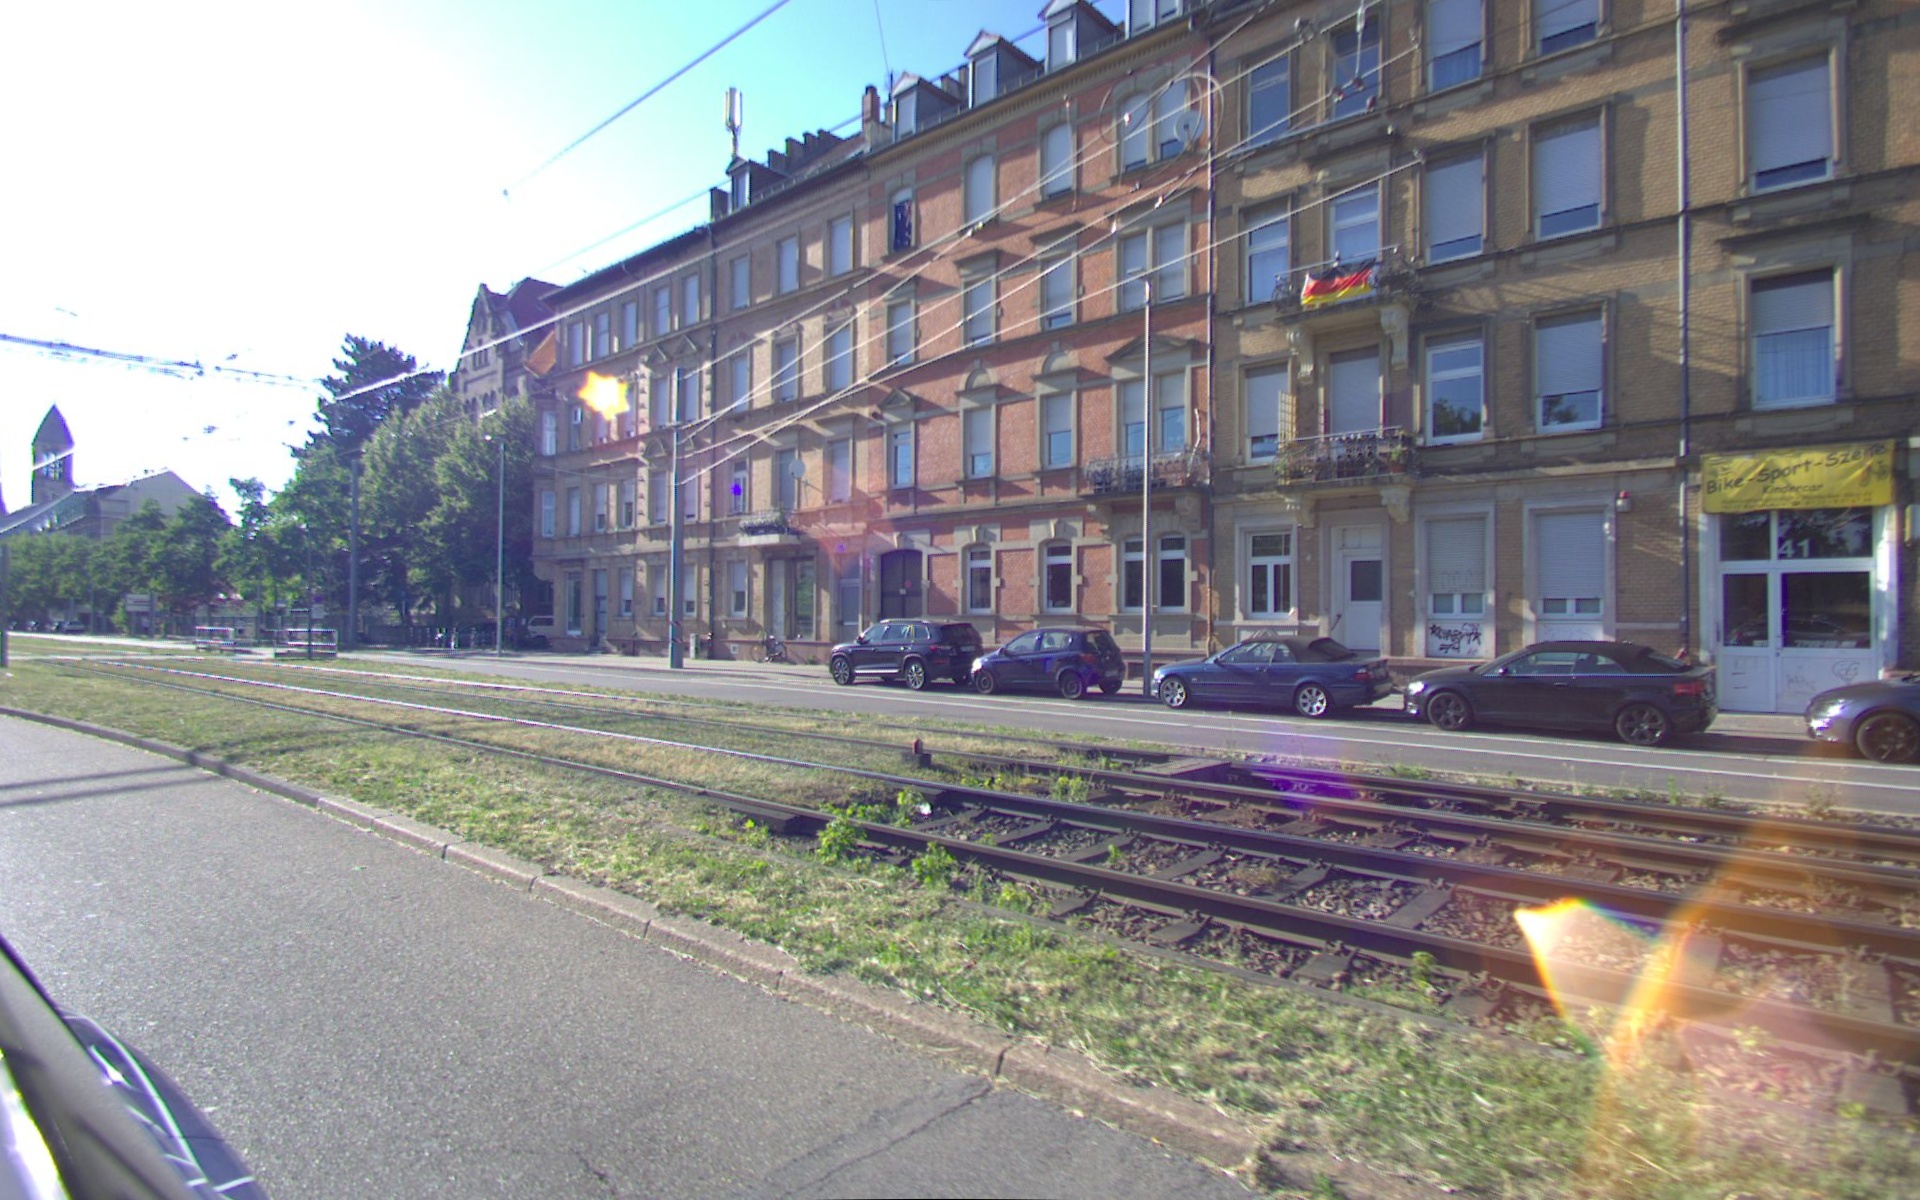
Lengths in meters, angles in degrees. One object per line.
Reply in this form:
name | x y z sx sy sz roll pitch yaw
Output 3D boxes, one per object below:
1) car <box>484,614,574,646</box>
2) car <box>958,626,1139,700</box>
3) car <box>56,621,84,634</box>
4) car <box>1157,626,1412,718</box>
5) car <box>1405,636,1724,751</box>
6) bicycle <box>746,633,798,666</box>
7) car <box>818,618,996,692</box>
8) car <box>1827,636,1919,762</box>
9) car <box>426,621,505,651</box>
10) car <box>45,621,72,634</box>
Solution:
car | -26.253 1.817 61.692 4.983 1.838 2.029 0 0 -23
car | 1.894 1.324 22.358 3.764 1.457 1.642 -1 0 42
car | -100.117 3.086 113.802 3.997 1.522 1.776 -1 -3 40
car | 5.900 1.247 18.732 4.195 1.457 1.642 -1 0 42
car | 9.197 1.327 15.588 3.980 1.457 1.642 -1 0 42
bicycle | -6.343 1.660 34.127 2.009 1.011 0.584 0 1 40
car | -1.412 1.288 25.377 4.632 1.655 1.774 -1 0 44
car | 12.997 1.213 12.081 3.980 1.457 1.642 -1 0 42
car | -27.887 1.992 57.116 3.931 1.521 1.806 -1 0 -27
car | -107.866 3.273 121.079 3.997 1.522 1.776 -1 -3 40
